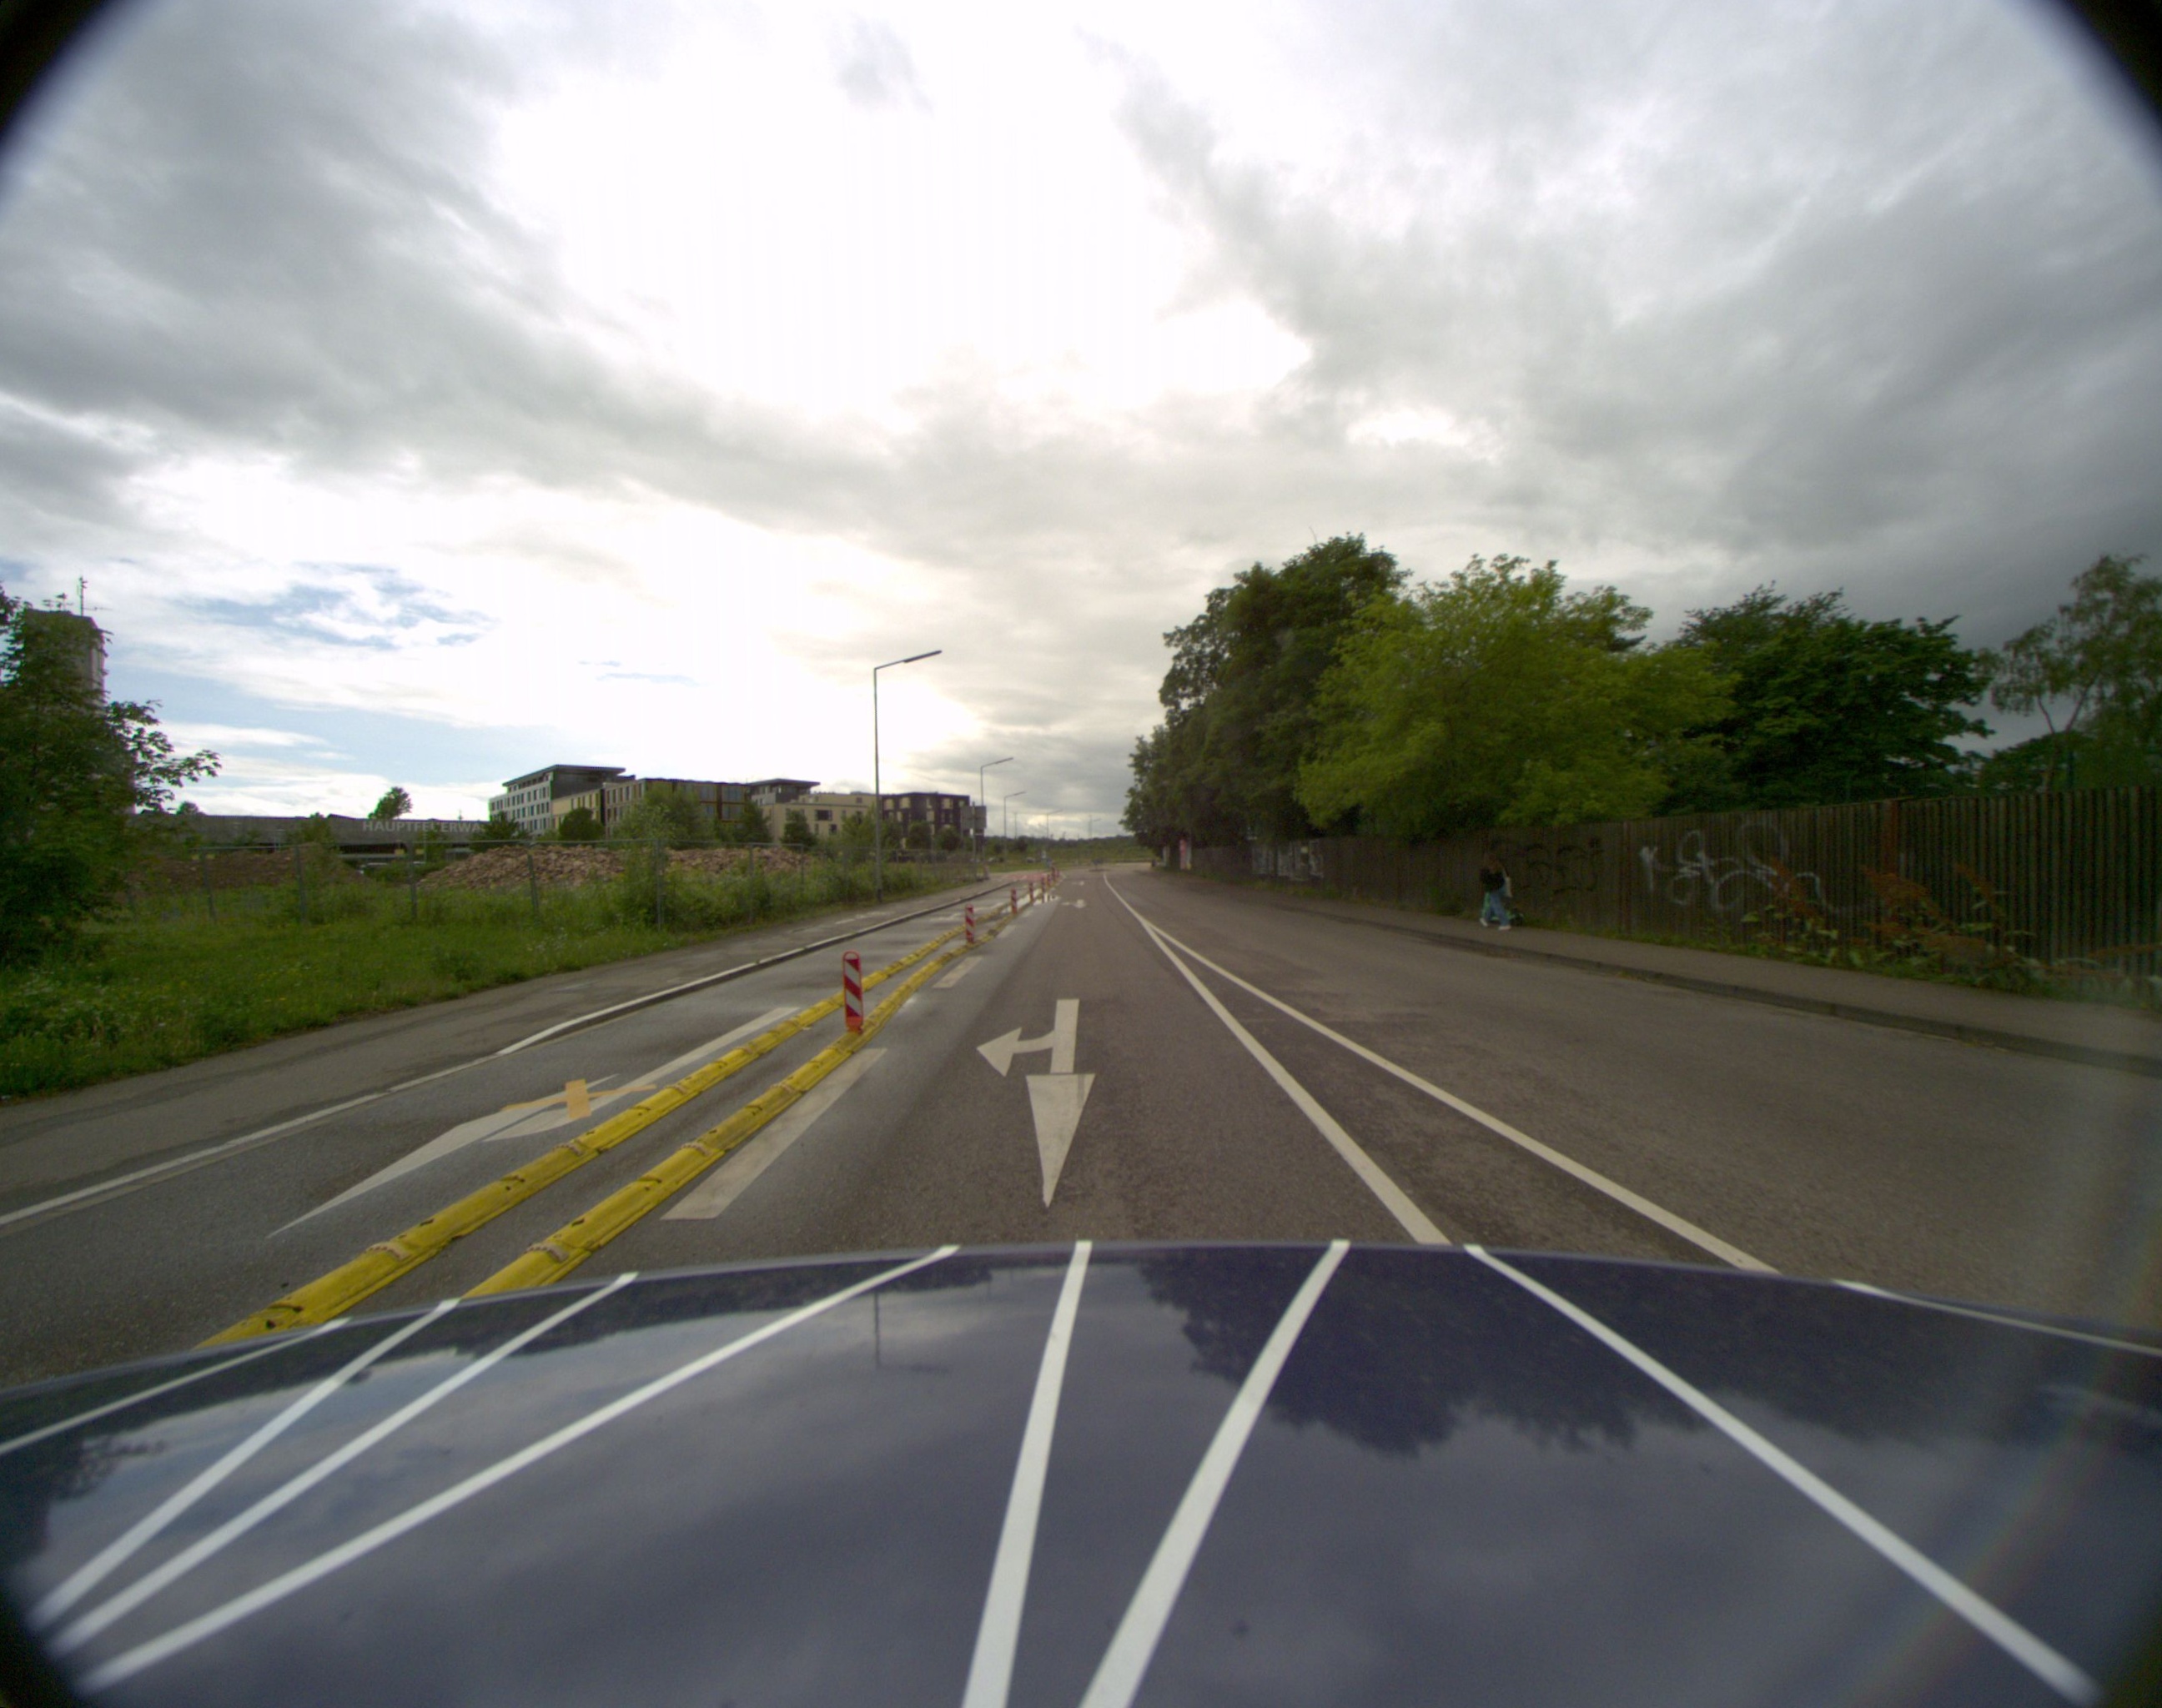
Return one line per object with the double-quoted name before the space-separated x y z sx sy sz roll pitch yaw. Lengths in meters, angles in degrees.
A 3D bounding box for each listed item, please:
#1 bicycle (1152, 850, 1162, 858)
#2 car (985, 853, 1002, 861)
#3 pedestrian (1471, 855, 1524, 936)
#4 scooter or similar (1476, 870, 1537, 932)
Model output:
"bicycle" 9.315 -0.016 93.078 0.582 0.992 1.773 -3 0 28
"car" -21.709 0.659 188.877 1.994 2.002 4.008 0 0 42
"pedestrian" 8.085 0.780 14.763 0.614 1.520 0.724 -1 1 -4
"scooter or similar" 8.619 0.929 15.448 0.424 1.164 1.303 -1 0 -5
